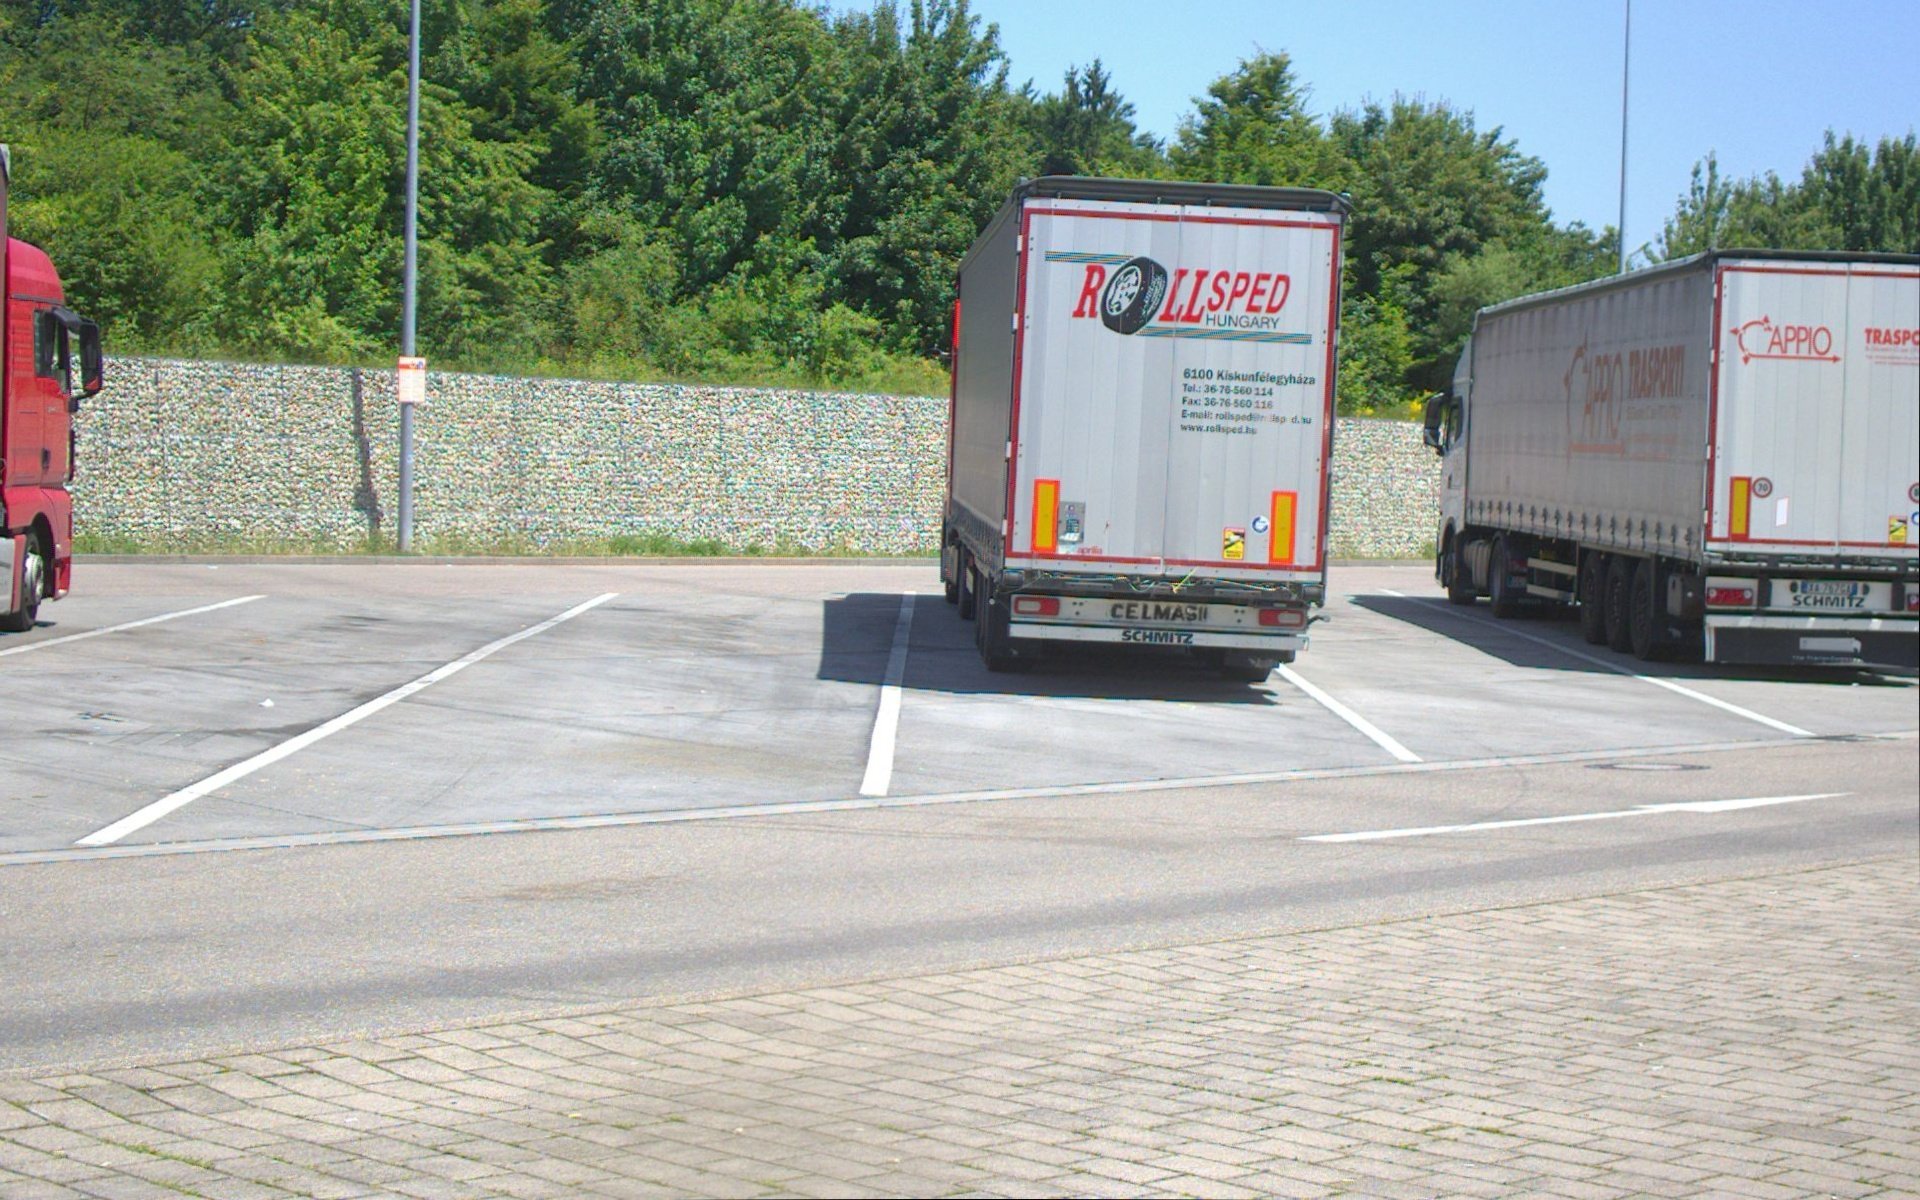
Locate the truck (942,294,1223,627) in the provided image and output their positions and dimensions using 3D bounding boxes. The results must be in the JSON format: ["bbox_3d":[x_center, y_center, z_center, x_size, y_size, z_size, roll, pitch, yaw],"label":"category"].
[{"bbox_3d":[1.302,-1.622,39.815,2.852,3.472,5.483,2,2,-1],"label":"truck"}]

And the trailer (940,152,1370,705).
[{"bbox_3d":[1.450,-1.616,33.202,2.906,4.118,13.725,2,3,-1],"label":"trailer"}]

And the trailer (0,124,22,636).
[{"bbox_3d":[-9.136,-1.485,21.306,2.906,4.118,13.725,2,3,-1],"label":"trailer"}]

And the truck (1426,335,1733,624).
[{"bbox_3d":[8.075,-1.617,45.504,2.852,3.472,5.483,2,2,-1],"label":"truck"}]

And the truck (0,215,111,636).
[{"bbox_3d":[-9.226,-1.500,28.745,2.852,3.416,5.483,2,2,-1],"label":"truck"}]

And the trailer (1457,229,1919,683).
[{"bbox_3d":[8.167,-1.620,38.691,2.838,4.118,13.724,2,3,-1],"label":"trailer"}]

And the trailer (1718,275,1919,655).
[{"bbox_3d":[11.804,-1.522,39.443,2.838,4.118,13.724,2,3,-1],"label":"trailer"}]
